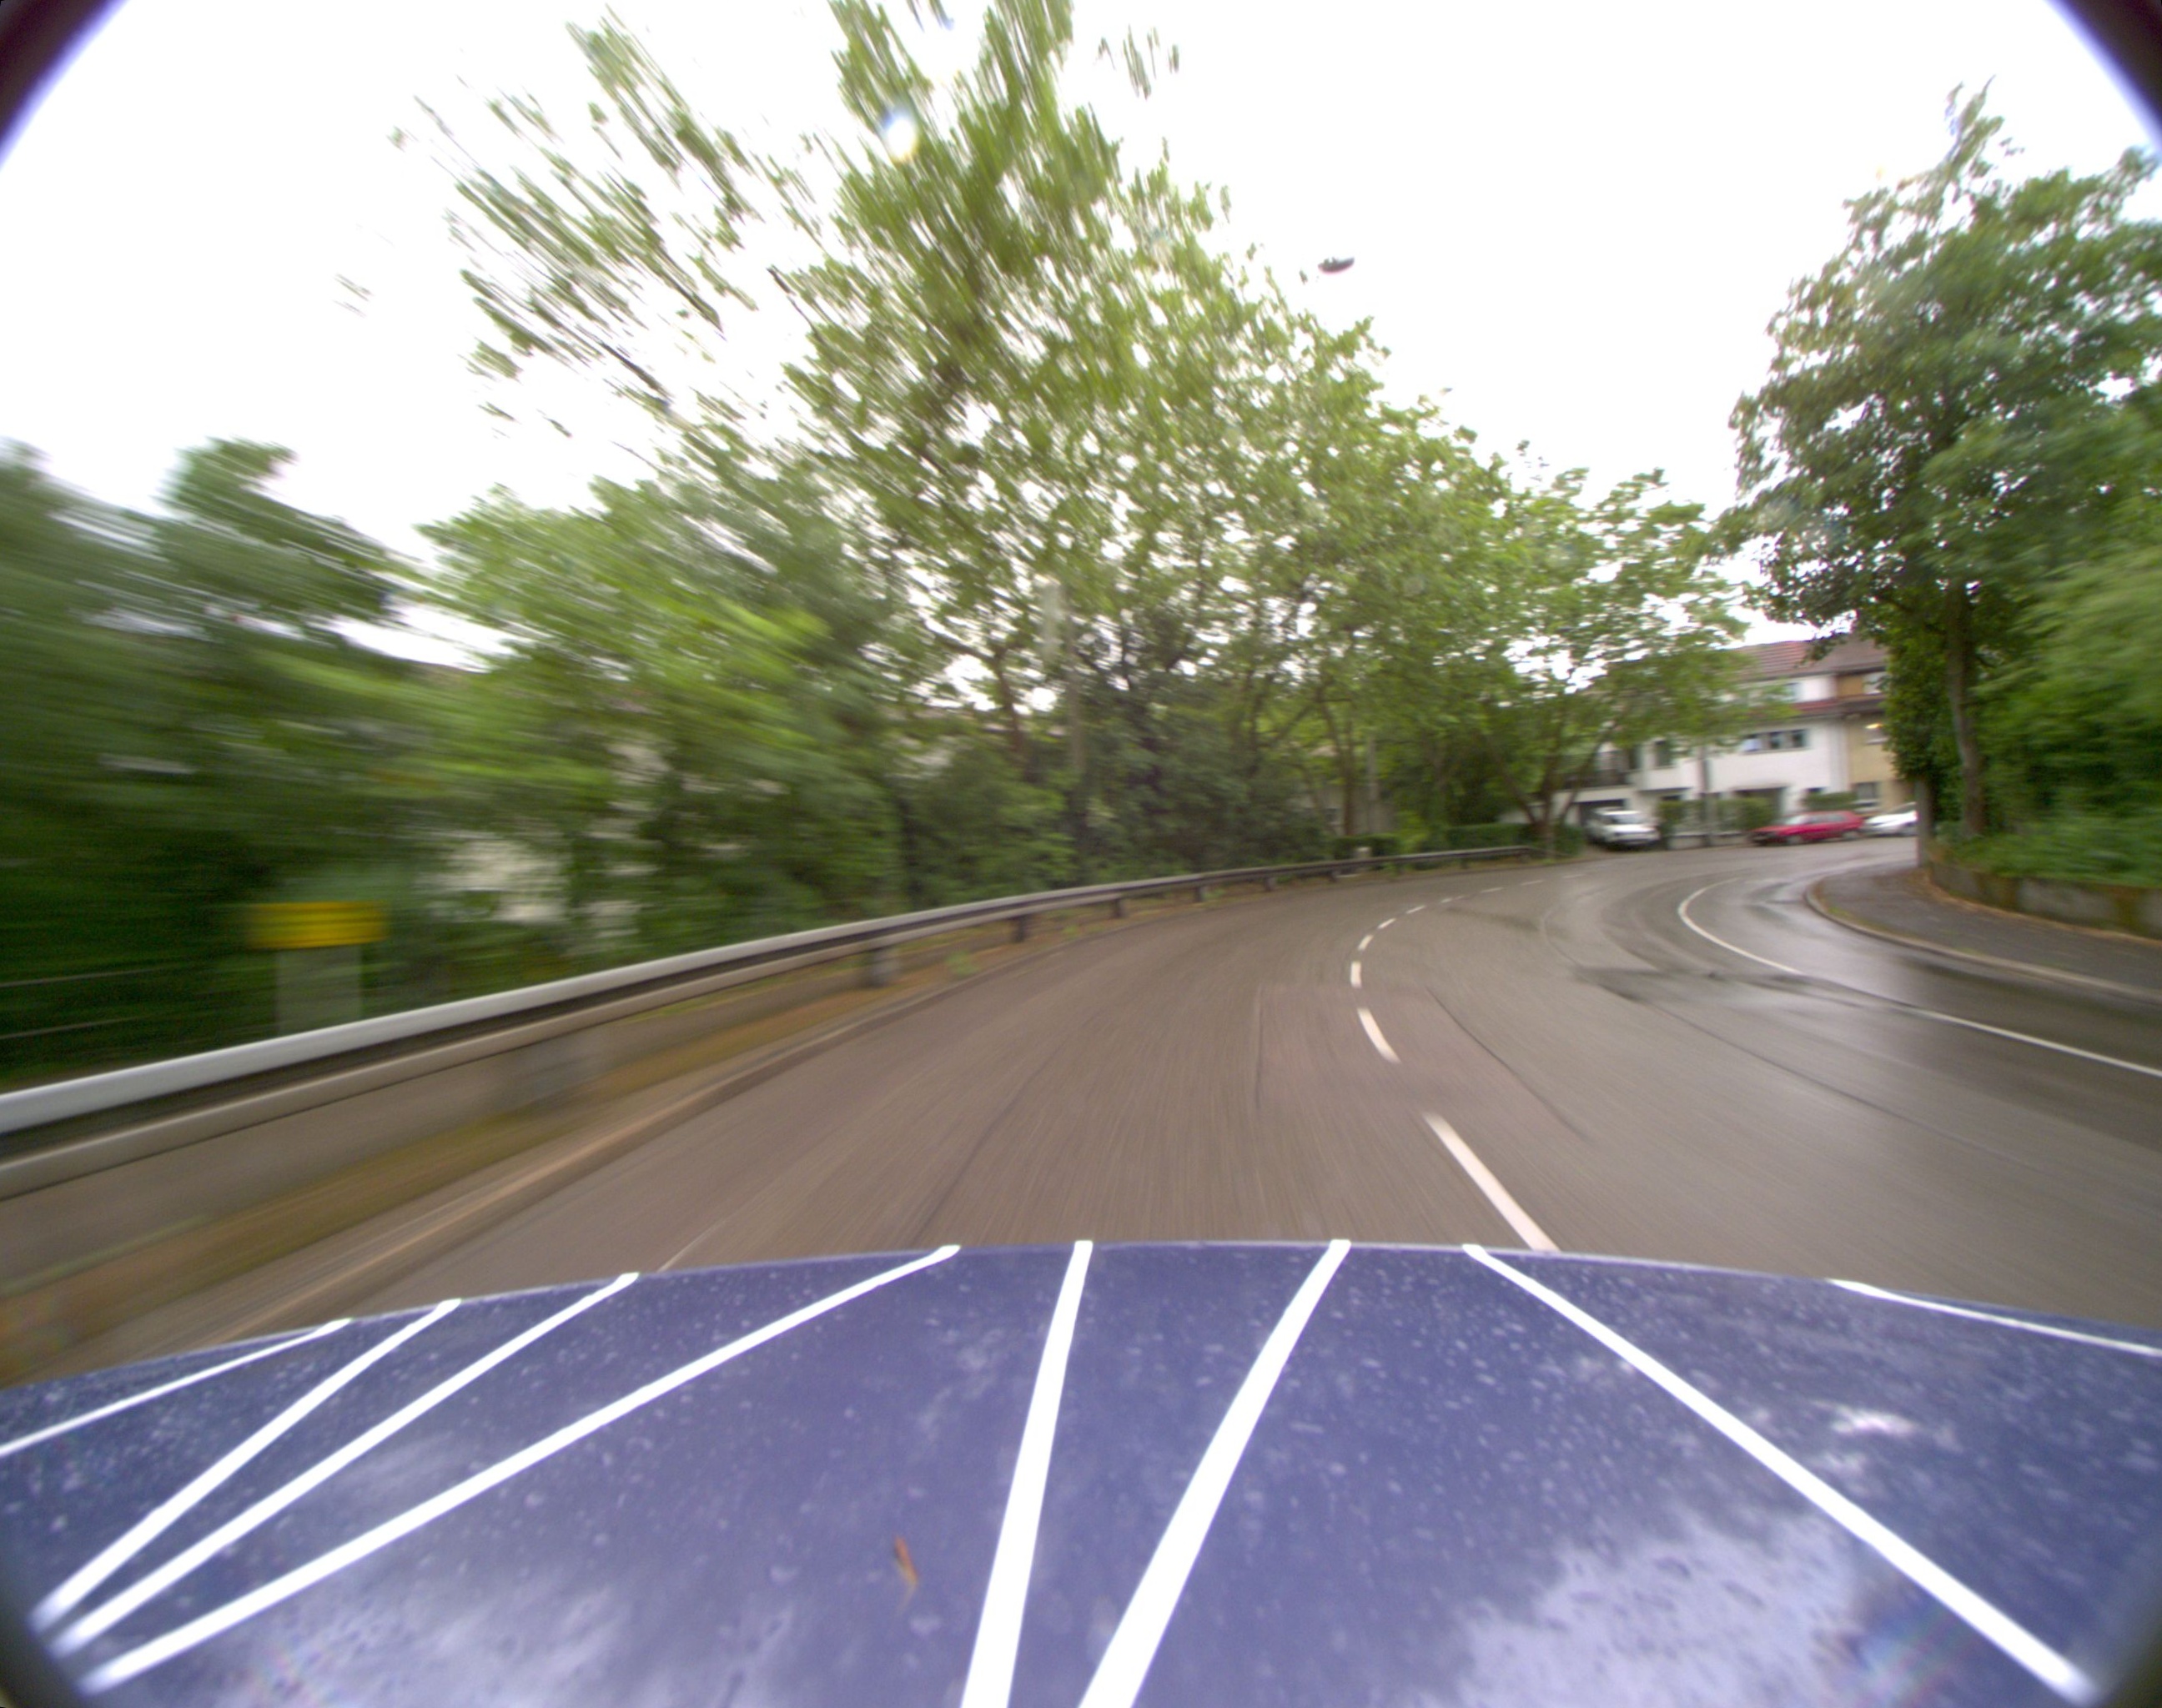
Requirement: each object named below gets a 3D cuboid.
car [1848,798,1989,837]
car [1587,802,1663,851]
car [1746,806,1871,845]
[{"bbox_3d":[37.102,-1.603,33.748,3.994,1.412,1.635,-4,1,10],"label":"car"},{"bbox_3d":[27.524,-1.433,38.615,1.954,1.915,4.267,-4,7,19],"label":"car"},{"bbox_3d":[32.425,-1.258,33.934,3.997,1.412,1.634,-4,1,0],"label":"car"}]
